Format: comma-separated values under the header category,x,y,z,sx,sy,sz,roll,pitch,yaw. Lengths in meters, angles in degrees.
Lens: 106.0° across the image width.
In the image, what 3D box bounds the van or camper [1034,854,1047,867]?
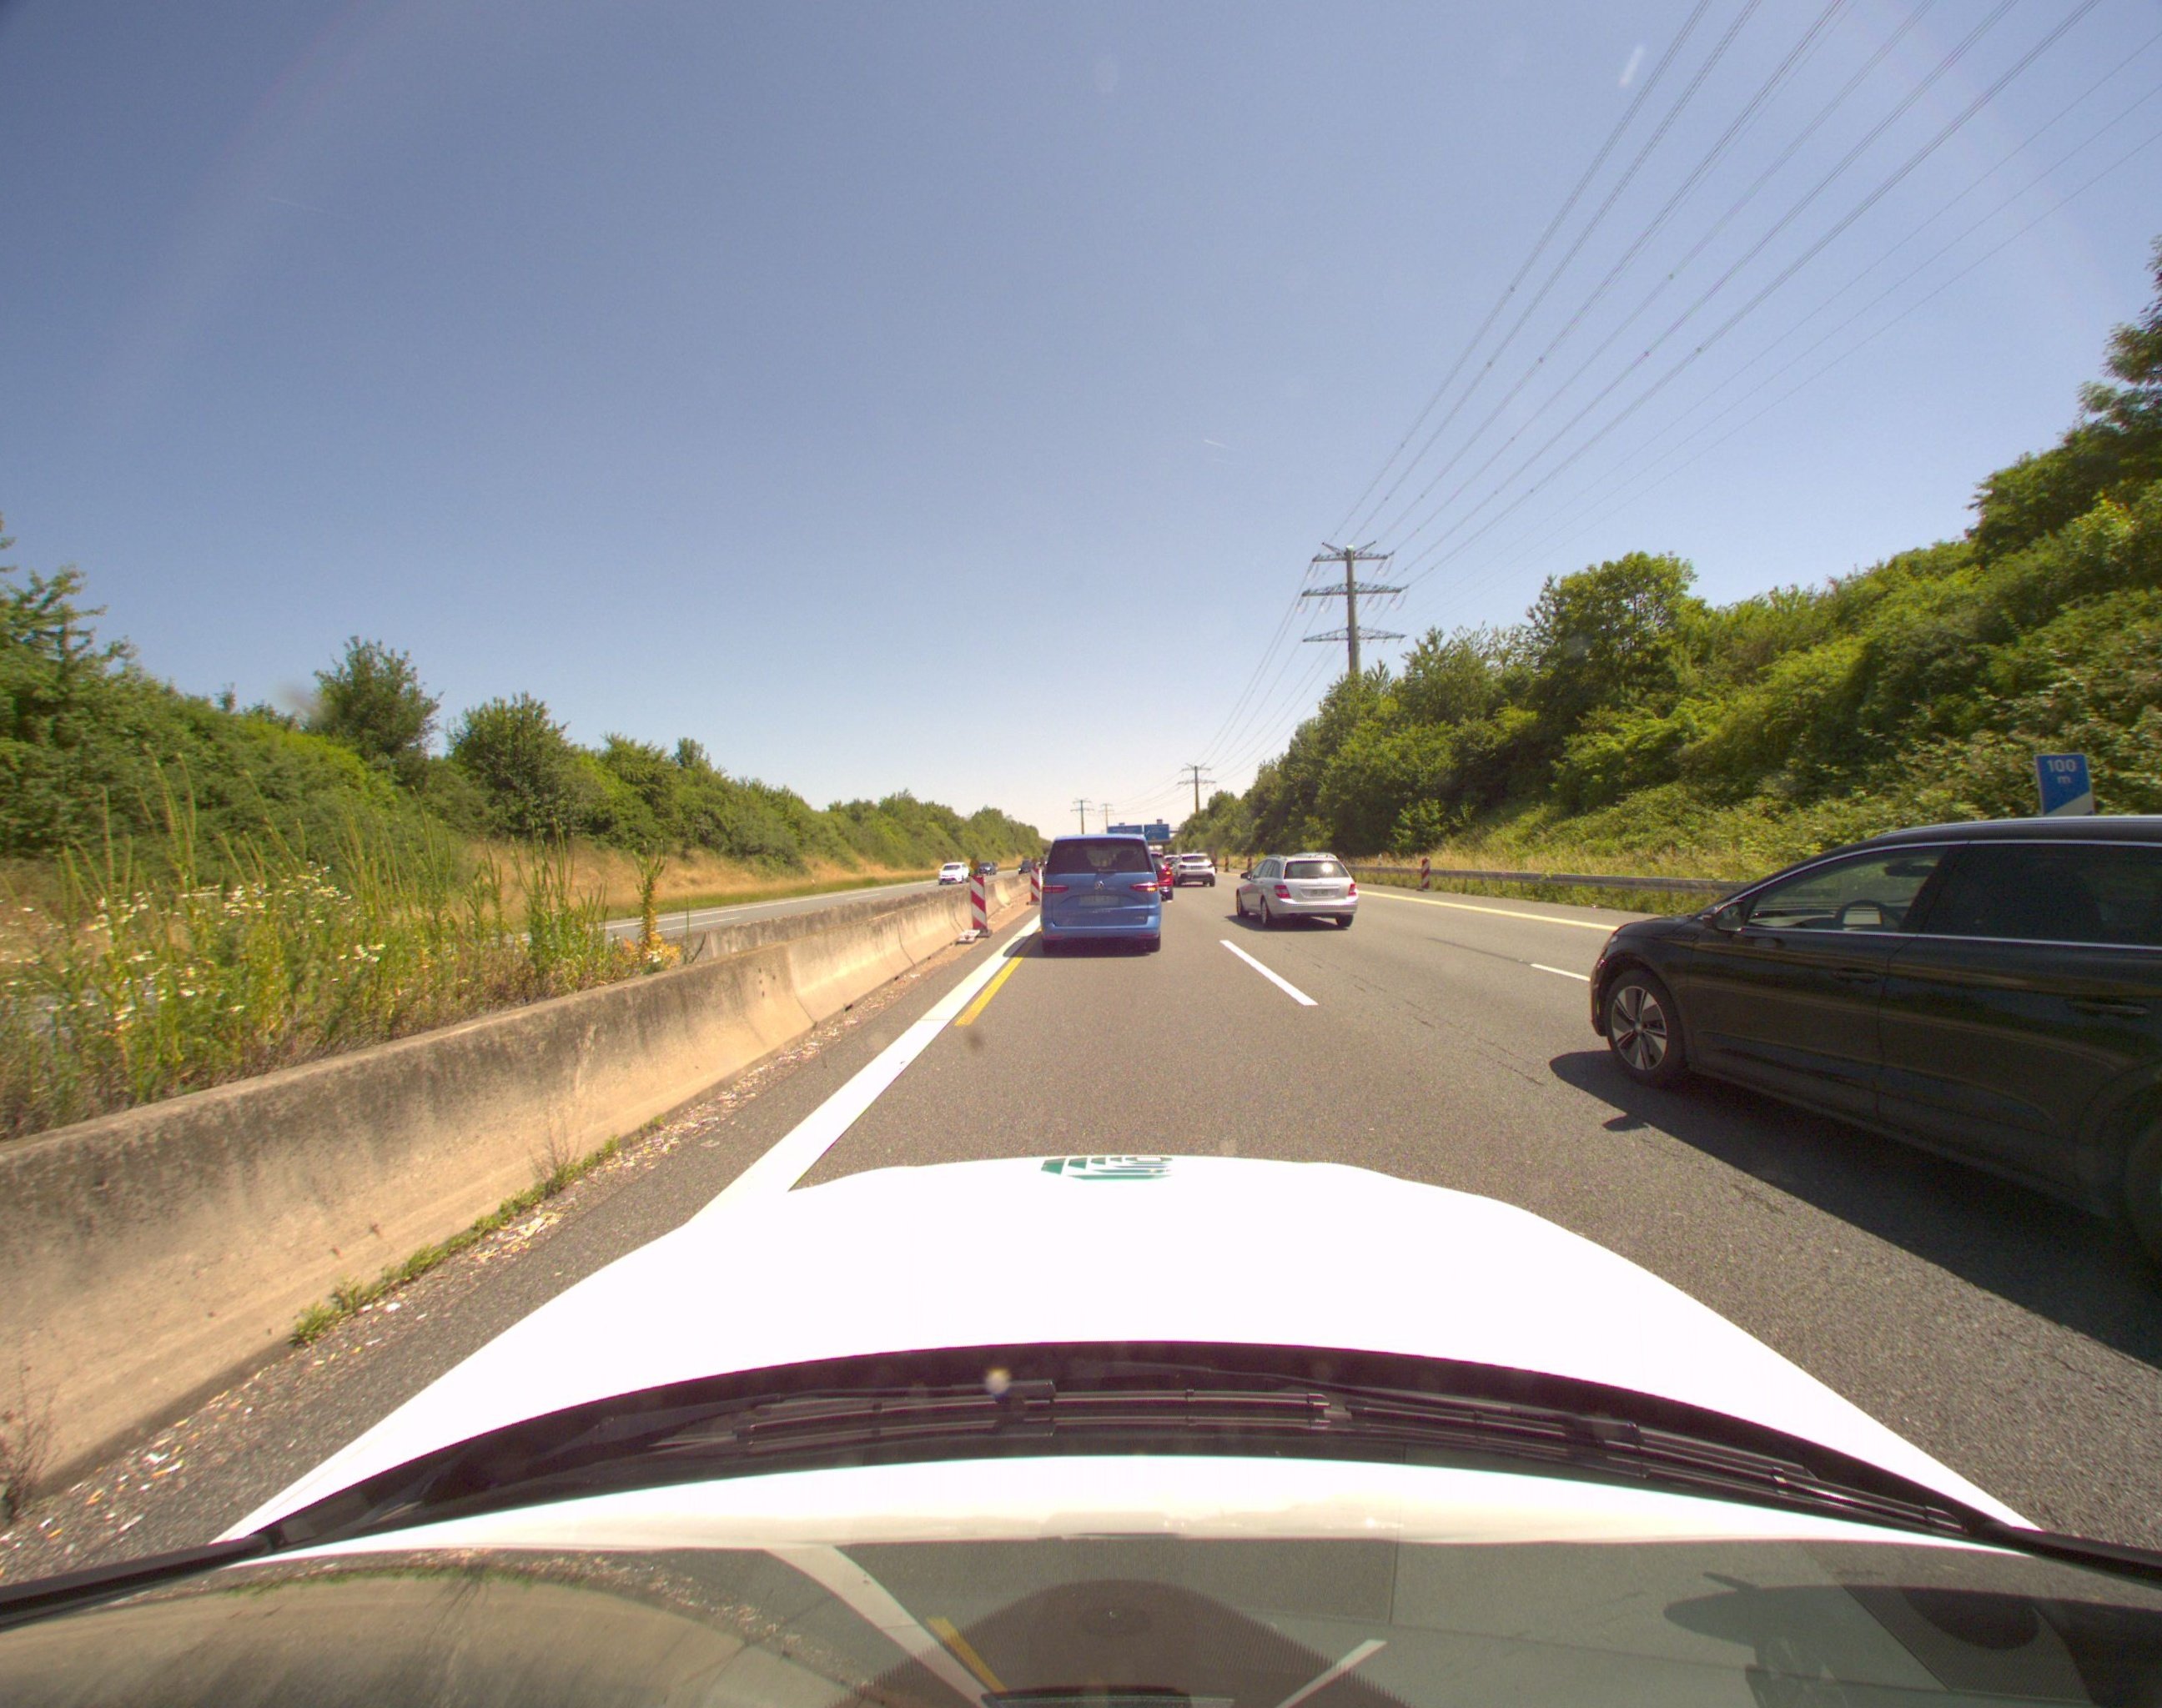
category,x,y,z,sx,sy,sz,roll,pitch,yaw
van or camper,-8.875,1.389,180.130,2.215,2.710,7.081,-4,0,1

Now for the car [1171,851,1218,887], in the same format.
category,x,y,z,sx,sy,sz,roll,pitch,yaw
car,5.340,0.693,38.878,1.791,1.594,4.228,0,0,2

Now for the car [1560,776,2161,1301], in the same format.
category,x,y,z,sx,sy,sz,roll,pitch,yaw
car,4.267,0.584,3.650,1.695,1.655,4.430,0,0,1

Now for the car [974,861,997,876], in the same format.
category,x,y,z,sx,sy,sz,roll,pitch,yaw
car,-11.668,1.719,100.017,1.986,1.650,4.632,-4,0,2

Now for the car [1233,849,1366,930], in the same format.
category,x,y,z,sx,sy,sz,roll,pitch,yaw
car,4.535,0.676,17.562,1.764,1.517,4.360,0,0,1

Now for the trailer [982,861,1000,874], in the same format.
category,x,y,z,sx,sy,sz,roll,pitch,yaw
trailer,-11.511,1.741,104.230,1.563,1.552,3.781,-4,0,2

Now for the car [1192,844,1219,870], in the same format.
category,x,y,z,sx,sy,sz,roll,pitch,yaw
car,10.144,0.241,66.746,1.790,2.014,4.230,0,0,3

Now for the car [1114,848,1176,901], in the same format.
category,x,y,z,sx,sy,sz,roll,pitch,yaw
car,2.134,0.668,28.054,1.868,1.671,4.360,0,0,1

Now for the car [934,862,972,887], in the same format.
category,x,y,z,sx,sy,sz,roll,pitch,yaw
car,-9.653,1.534,61.658,1.986,1.662,4.231,-3,0,2

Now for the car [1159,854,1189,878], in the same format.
category,x,y,z,sx,sy,sz,roll,pitch,yaw
car,6.541,0.836,57.818,1.791,1.594,4.228,0,0,2

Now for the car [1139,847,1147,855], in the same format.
category,x,y,z,sx,sy,sz,roll,pitch,yaw
car,19.038,-0.892,250.699,2.368,2.428,4.228,0,0,2

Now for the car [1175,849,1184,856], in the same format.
category,x,y,z,sx,sy,sz,roll,pitch,yaw
car,24.798,-0.374,205.333,1.868,1.671,4.360,0,0,1

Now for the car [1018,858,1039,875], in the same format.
category,x,y,z,sx,sy,sz,roll,pitch,yaw
car,-5.289,1.235,82.815,1.767,1.699,4.171,0,0,1

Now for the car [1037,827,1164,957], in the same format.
category,x,y,z,sx,sy,sz,roll,pitch,yaw
car,0.335,0.581,14.248,1.868,1.912,4.360,0,0,1

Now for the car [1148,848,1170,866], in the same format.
category,x,y,z,sx,sy,sz,roll,pitch,yaw
car,7.093,0.318,74.218,1.791,1.594,4.228,0,0,2

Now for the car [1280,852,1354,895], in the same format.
category,x,y,z,sx,sy,sz,roll,pitch,yaw
car,8.402,0.660,29.314,1.694,1.448,3.789,0,0,2
